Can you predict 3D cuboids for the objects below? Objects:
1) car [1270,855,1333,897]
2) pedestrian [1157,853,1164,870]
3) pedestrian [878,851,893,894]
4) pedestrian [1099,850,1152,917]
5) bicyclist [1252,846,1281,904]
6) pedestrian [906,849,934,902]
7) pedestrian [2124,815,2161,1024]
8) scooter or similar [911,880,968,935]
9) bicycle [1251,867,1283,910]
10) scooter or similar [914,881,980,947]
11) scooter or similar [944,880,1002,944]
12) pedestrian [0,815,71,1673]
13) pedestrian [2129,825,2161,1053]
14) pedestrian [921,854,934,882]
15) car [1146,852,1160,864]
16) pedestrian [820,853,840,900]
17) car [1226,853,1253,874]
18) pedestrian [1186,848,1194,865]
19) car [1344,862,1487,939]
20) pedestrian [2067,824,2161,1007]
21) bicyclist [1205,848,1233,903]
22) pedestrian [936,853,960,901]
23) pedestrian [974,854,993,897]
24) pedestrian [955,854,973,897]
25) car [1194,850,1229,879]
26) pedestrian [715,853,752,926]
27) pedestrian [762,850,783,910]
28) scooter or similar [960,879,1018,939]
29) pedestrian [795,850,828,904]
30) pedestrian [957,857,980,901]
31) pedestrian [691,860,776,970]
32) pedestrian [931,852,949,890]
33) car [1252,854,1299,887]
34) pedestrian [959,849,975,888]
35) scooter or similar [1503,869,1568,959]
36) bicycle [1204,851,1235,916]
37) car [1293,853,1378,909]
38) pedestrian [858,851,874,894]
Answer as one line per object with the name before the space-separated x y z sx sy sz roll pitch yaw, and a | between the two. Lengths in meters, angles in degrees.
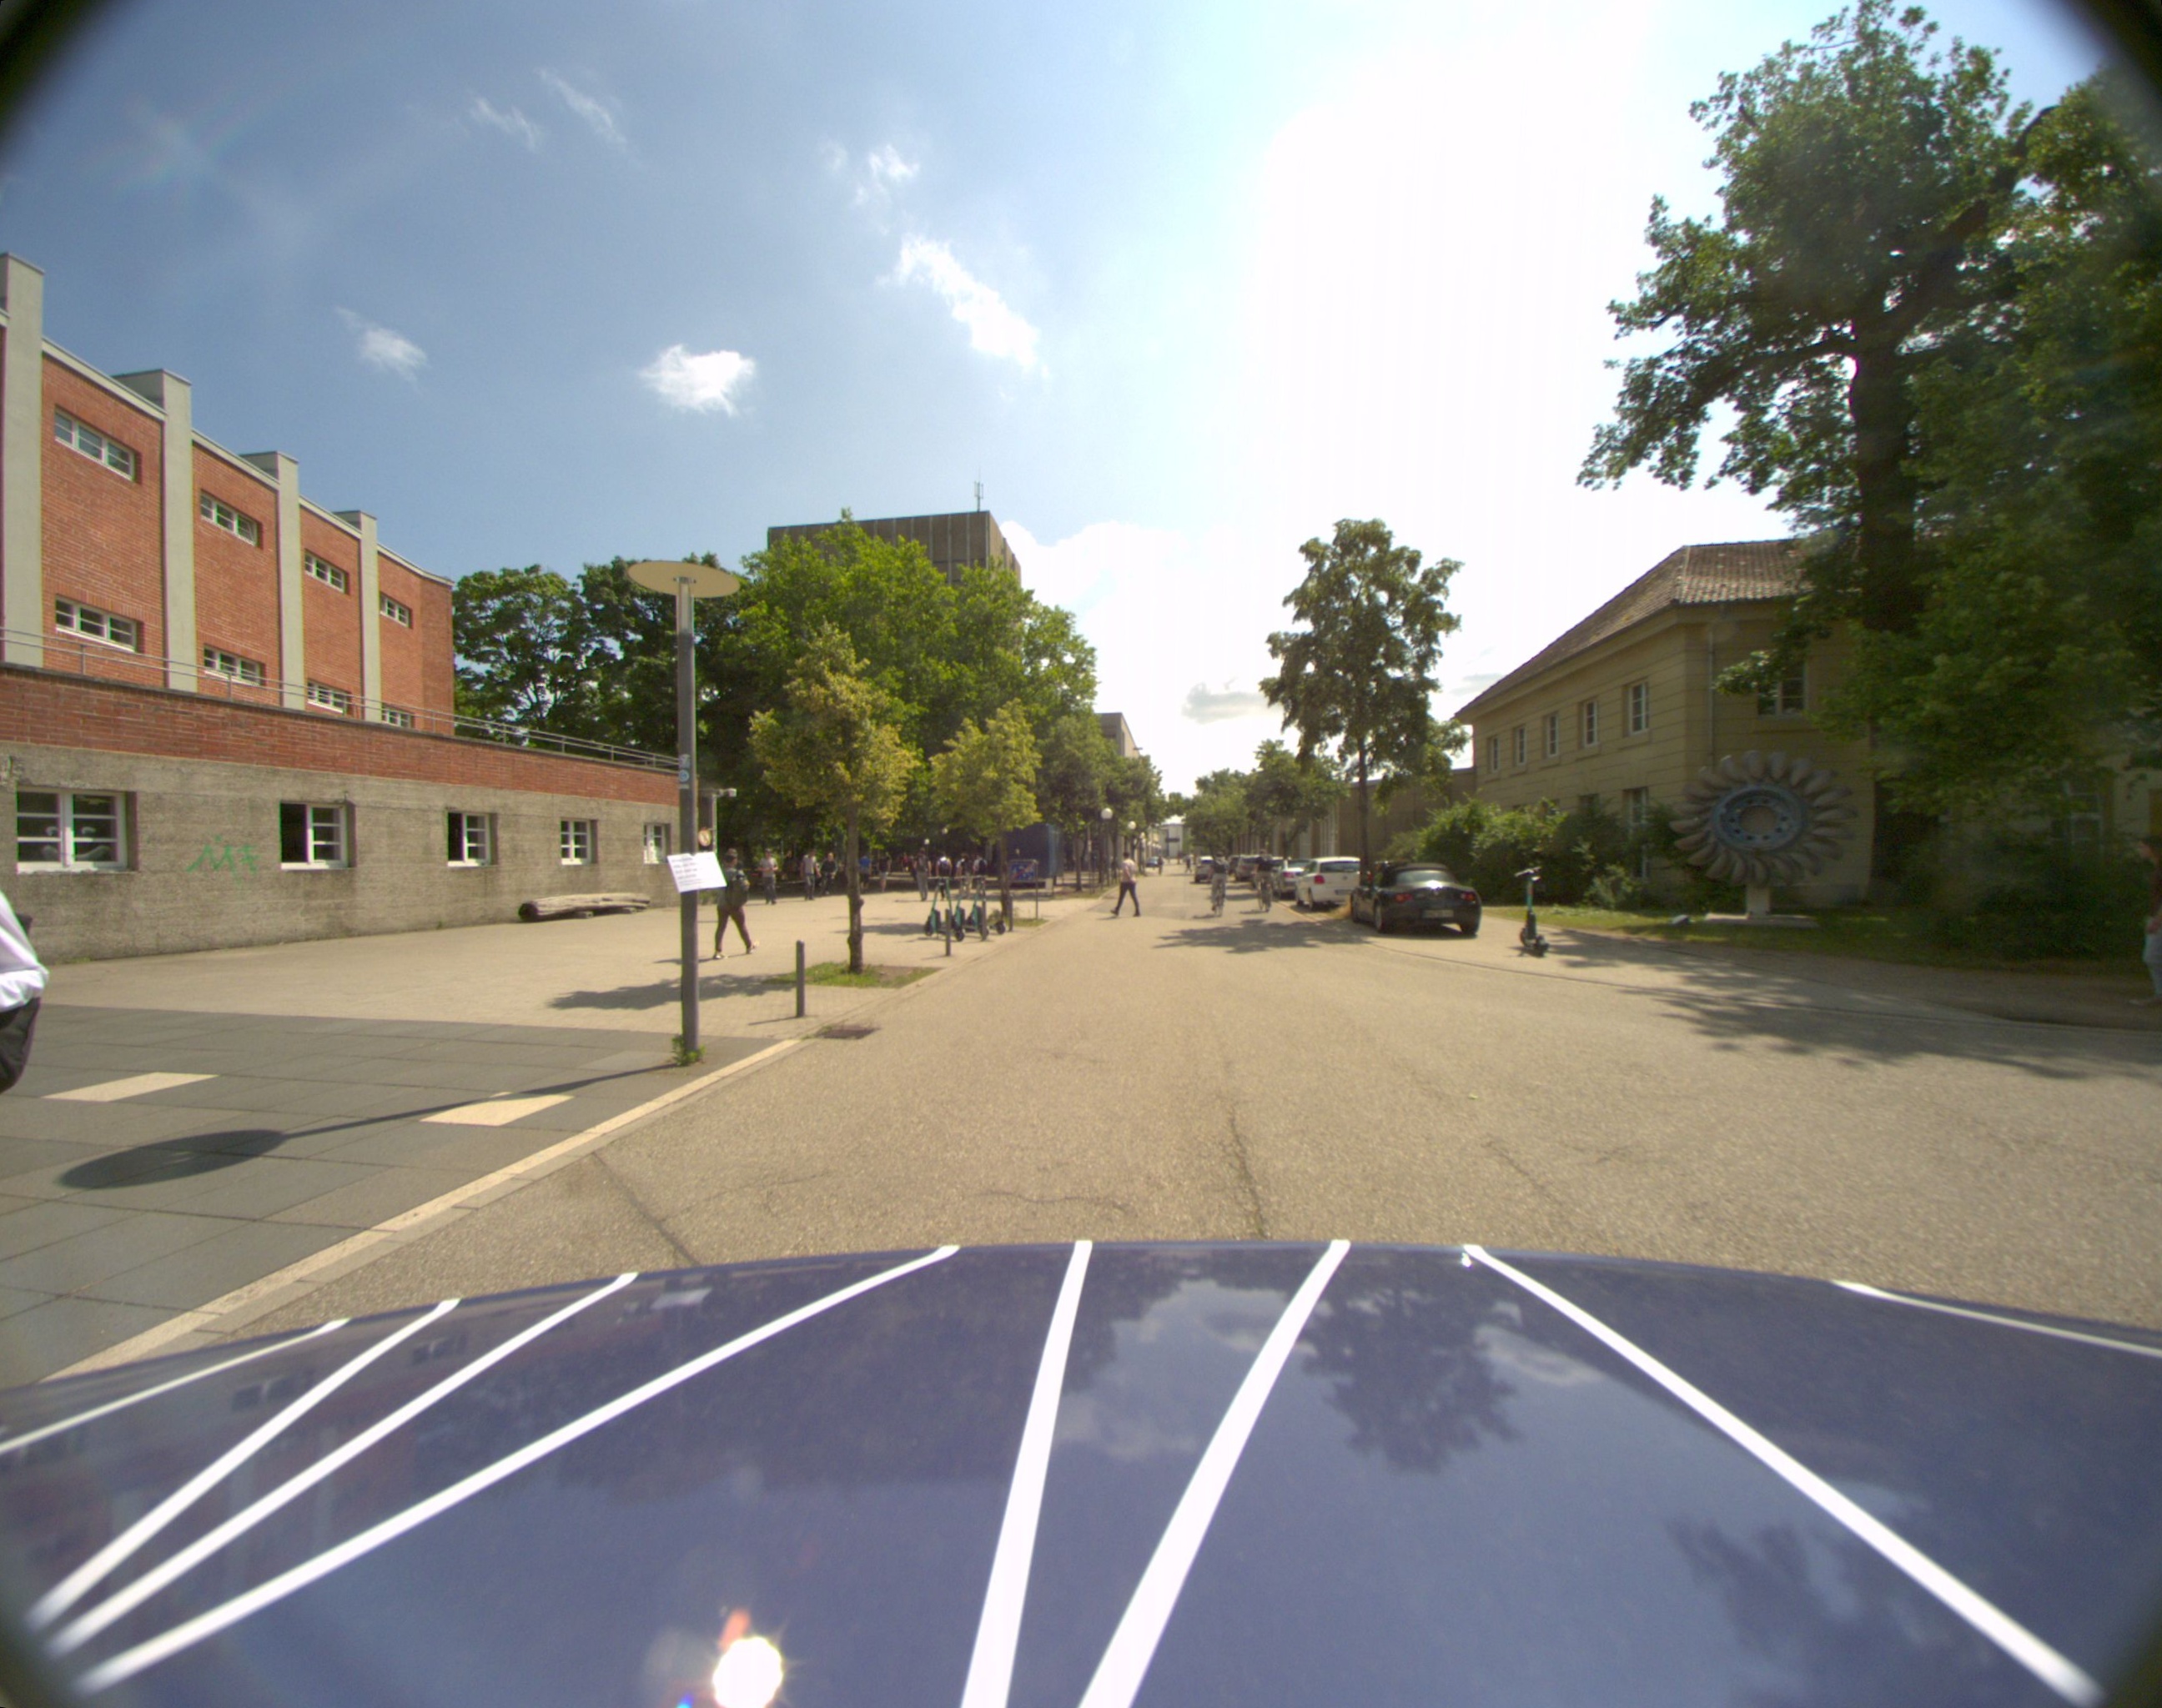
car | 7.865 0.736 27.370 1.647 1.368 4.003 -1 0 9
pedestrian | 6.860 0.646 65.515 0.585 1.433 0.639 0 0 9
pedestrian | -8.217 0.758 31.988 0.541 1.783 0.644 0 0 -10
pedestrian | 1.237 0.793 21.083 0.985 1.776 1.092 0 0 -37
bicyclist | 5.257 0.571 21.582 0.629 1.597 1.329 -1 0 6
pedestrian | -5.993 0.778 28.219 0.983 1.934 0.977 0 0 -14
pedestrian | 9.730 0.547 6.430 0.898 1.776 0.728 0 1 38
scooter or similar | -3.202 1.189 17.326 0.575 1.173 1.480 0 0 21
bicycle | 5.243 0.953 21.475 0.626 1.135 1.813 -1 0 6
scooter or similar | -2.662 1.160 15.010 1.352 1.223 0.577 0 0 43
scooter or similar | -2.235 1.174 15.692 1.140 1.236 0.577 0 0 43
pedestrian | -2.949 0.827 1.624 1.022 1.837 0.918 1 1 38
pedestrian | 8.639 0.632 5.582 1.002 1.706 0.623 0 0 44
pedestrian | -8.436 0.775 41.662 0.640 1.548 0.574 0 0 -17
car | 10.504 0.549 110.477 1.997 1.648 4.002 -1 0 6
pedestrian | -9.745 0.872 29.530 0.669 1.755 0.797 -1 0 -18
car | 12.930 0.735 62.284 1.931 1.624 4.375 -1 0 9
pedestrian | 10.990 0.270 76.578 0.536 1.672 0.587 0 0 39
car | 6.489 0.843 15.164 1.699 1.287 3.765 -1 0 9
pedestrian | 10.298 0.566 7.254 0.970 1.706 0.559 0 1 37
bicyclist | 3.716 0.570 20.522 0.587 1.444 1.233 -1 0 3
pedestrian | -4.999 0.856 28.502 0.782 1.781 0.714 0 0 -16
pedestrian | -3.973 0.852 30.951 0.622 1.729 0.774 0 0 -15
pedestrian | -4.757 0.858 30.902 0.603 1.742 0.763 0 0 -20
car | 7.874 0.614 46.133 1.931 1.624 4.375 -1 0 9
pedestrian | -8.578 0.861 18.765 0.586 1.768 0.798 0 1 -6
pedestrian | -10.230 0.862 25.203 0.566 1.917 0.889 -2 -2 -21
scooter or similar | -2.006 1.170 16.477 1.261 1.225 0.577 0 0 43
pedestrian | -9.664 0.816 27.226 0.970 1.875 0.670 -4 -2 43
pedestrian | -4.299 0.938 29.044 0.751 1.663 0.845 0 0 -16
pedestrian | -5.546 0.941 12.188 0.784 1.666 1.079 0 1 5
pedestrian | -6.370 0.752 34.313 0.640 1.697 0.713 0 0 -20
car | 9.029 0.712 35.447 1.717 1.424 4.003 -1 0 9
pedestrian | -5.441 0.677 36.321 0.640 1.859 0.537 0 0 -20
scooter or similar | 6.659 0.848 11.180 0.470 1.209 1.206 -1 0 13
bicycle | 3.724 0.760 20.490 0.588 1.670 1.759 -1 0 3
car | 7.109 0.710 21.546 1.634 1.422 3.635 -1 0 8
pedestrian | -8.968 0.751 31.721 0.566 1.783 0.644 0 0 -7
